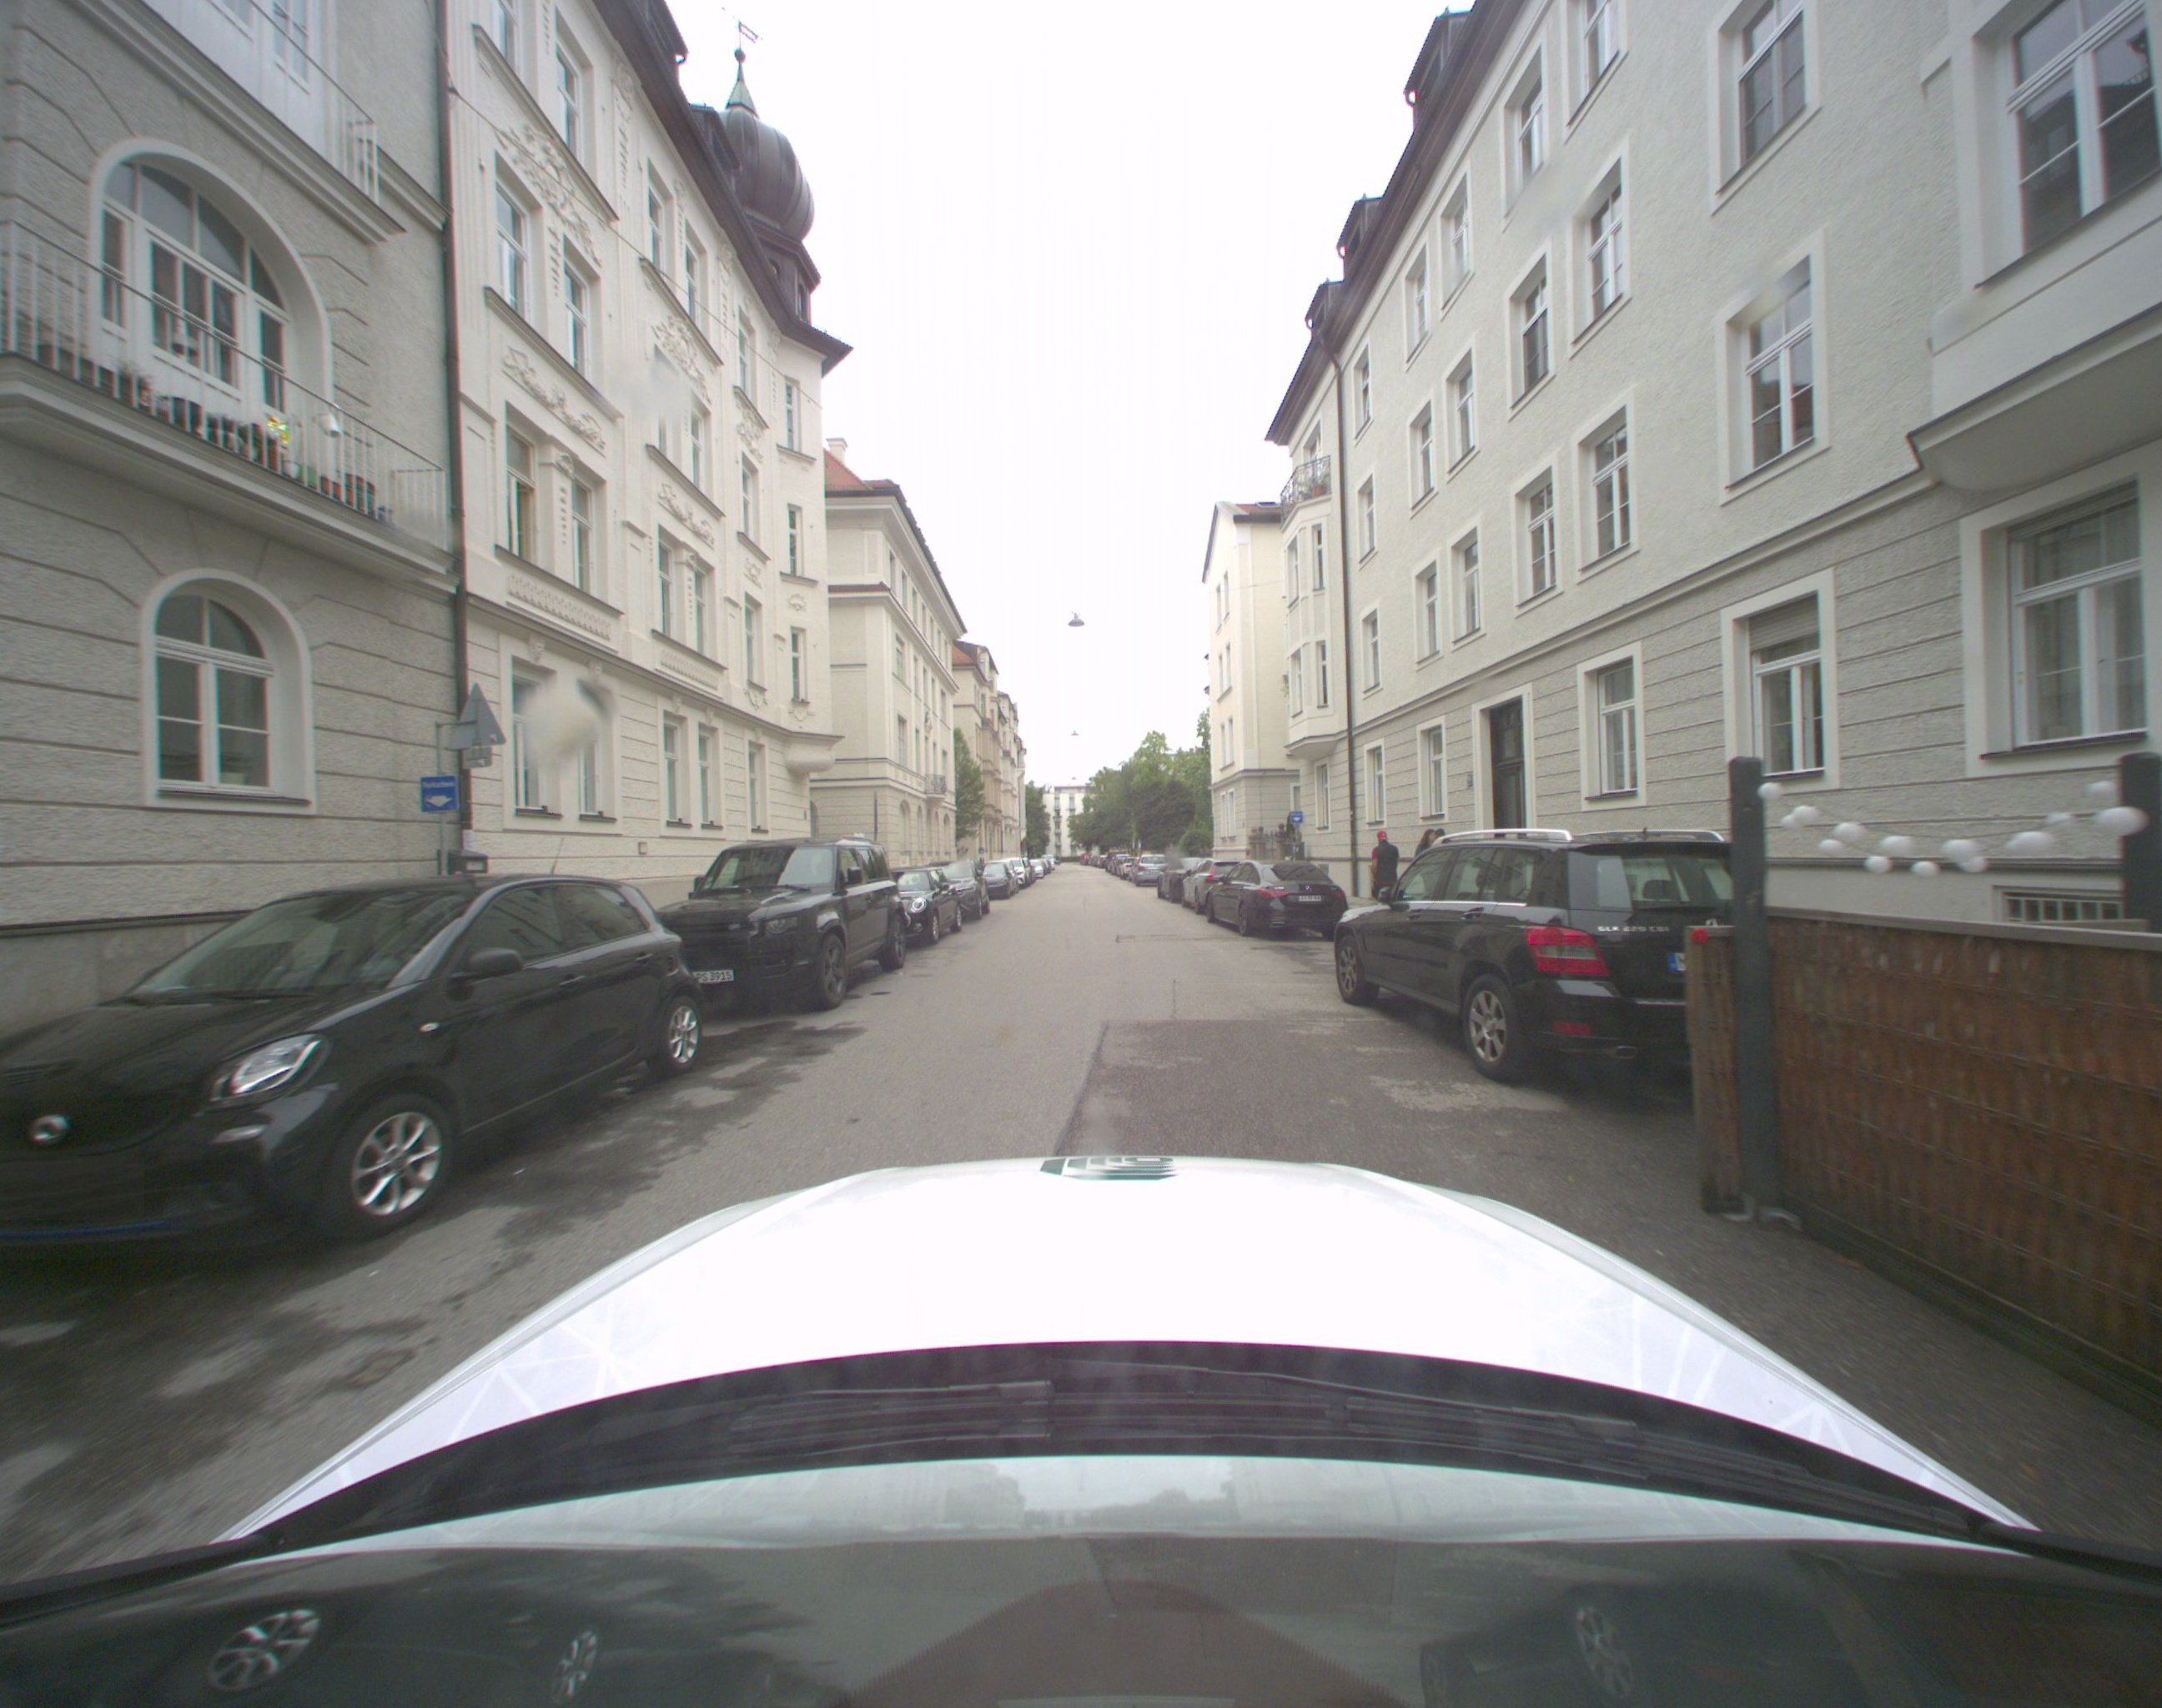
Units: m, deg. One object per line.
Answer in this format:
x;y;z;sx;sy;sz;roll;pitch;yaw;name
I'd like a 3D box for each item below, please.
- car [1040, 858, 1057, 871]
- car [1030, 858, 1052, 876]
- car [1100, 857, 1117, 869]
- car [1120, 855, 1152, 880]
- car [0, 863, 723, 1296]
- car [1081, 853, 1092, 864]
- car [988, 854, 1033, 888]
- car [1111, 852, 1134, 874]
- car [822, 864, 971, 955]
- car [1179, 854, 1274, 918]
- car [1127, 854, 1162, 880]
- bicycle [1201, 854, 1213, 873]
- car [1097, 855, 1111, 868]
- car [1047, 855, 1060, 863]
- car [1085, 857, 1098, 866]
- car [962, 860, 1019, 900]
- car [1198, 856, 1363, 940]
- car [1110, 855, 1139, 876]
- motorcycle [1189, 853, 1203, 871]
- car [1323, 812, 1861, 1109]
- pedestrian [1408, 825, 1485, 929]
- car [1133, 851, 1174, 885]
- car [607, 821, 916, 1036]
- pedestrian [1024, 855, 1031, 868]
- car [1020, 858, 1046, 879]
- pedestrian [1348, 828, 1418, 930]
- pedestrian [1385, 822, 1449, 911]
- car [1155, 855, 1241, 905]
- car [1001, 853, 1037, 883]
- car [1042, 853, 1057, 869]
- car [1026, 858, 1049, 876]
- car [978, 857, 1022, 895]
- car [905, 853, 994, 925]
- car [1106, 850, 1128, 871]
-3.958;1.260;99.384;1.830;1.438;4.274;-4;0;0;car
-3.827;1.235;78.659;1.830;1.435;4.244;-4;0;0;car
3.256;1.039;96.985;1.833;1.413;4.341;0;-1;-1;car
3.480;0.857;52.096;1.779;1.504;4.064;0;0;0;car
-3.717;0.864;4.785;1.611;1.513;3.530;-3;0;0;car
1.058;0.797;146.570;1.829;1.927;4.006;1;0;2;car
-3.635;0.845;42.935;1.909;1.618;4.571;-1;0;0;car
3.532;0.748;69.228;1.717;1.769;4.412;1;-1;0;car
-3.445;0.976;16.063;1.830;1.394;4.245;-3;0;1;car
3.793;0.766;21.895;1.755;1.485;4.420;1;0;0;car
3.624;0.738;46.993;1.749;1.406;3.450;0;0;-1;car
7.678;0.583;49.597;0.433;1.125;1.881;-2;0;0;bicycle
2.974;0.994;107.093;1.510;1.661;3.670;0;-1;-3;car
-5.149;0.991;153.067;1.873;1.428;4.397;-4;0;-8;car
1.811;1.208;135.767;1.835;1.519;3.941;0;-1;-4;car
-3.615;0.994;33.167;1.787;1.415;4.277;-4;0;-1;car
3.805;0.755;16.512;1.833;1.399;4.967;0;0;-4;car
3.394;0.879;64.418;1.747;1.610;4.418;0;0;-4;car
7.276;0.506;51.608;0.605;1.112;1.966;-3;0;3;motorcycle
3.551;0.615;6.750;1.795;1.675;4.187;1;0;-1;car
6.687;0.411;14.955;0.879;1.786;1.113;-3;0;5;pedestrian
3.619;0.663;41.213;1.815;1.569;4.402;1;0;2;car
-3.457;0.678;9.968;1.831;1.894;4.762;-3;0;-1;car
-7.618;1.050;115.289;0.792;1.679;0.698;-3;0;-9;pedestrian
-3.731;1.091;63.736;1.832;1.434;4.241;-3;0;-2;car
5.714;0.451;15.468;0.879;1.811;1.112;-3;0;4;pedestrian
7.157;0.251;17.383;0.880;1.813;1.111;-1;0;0;pedestrian
3.760;0.802;27.025;1.989;1.457;4.708;-2;0;-2;car
-3.667;0.803;48.447;1.831;1.618;4.243;-1;0;-1;car
-4.553;0.951;117.882;1.882;2.127;4.702;-4;0;-3;car
-3.899;1.169;73.227;1.829;1.434;4.550;-3;0;-2;car
-3.701;0.970;37.859;1.779;1.541;4.251;-4;0;-4;car
-3.376;0.848;21.592;1.722;1.618;4.118;-3;0;-2;car
3.453;0.578;78.908;1.945;1.954;4.664;0;1;-1;car
